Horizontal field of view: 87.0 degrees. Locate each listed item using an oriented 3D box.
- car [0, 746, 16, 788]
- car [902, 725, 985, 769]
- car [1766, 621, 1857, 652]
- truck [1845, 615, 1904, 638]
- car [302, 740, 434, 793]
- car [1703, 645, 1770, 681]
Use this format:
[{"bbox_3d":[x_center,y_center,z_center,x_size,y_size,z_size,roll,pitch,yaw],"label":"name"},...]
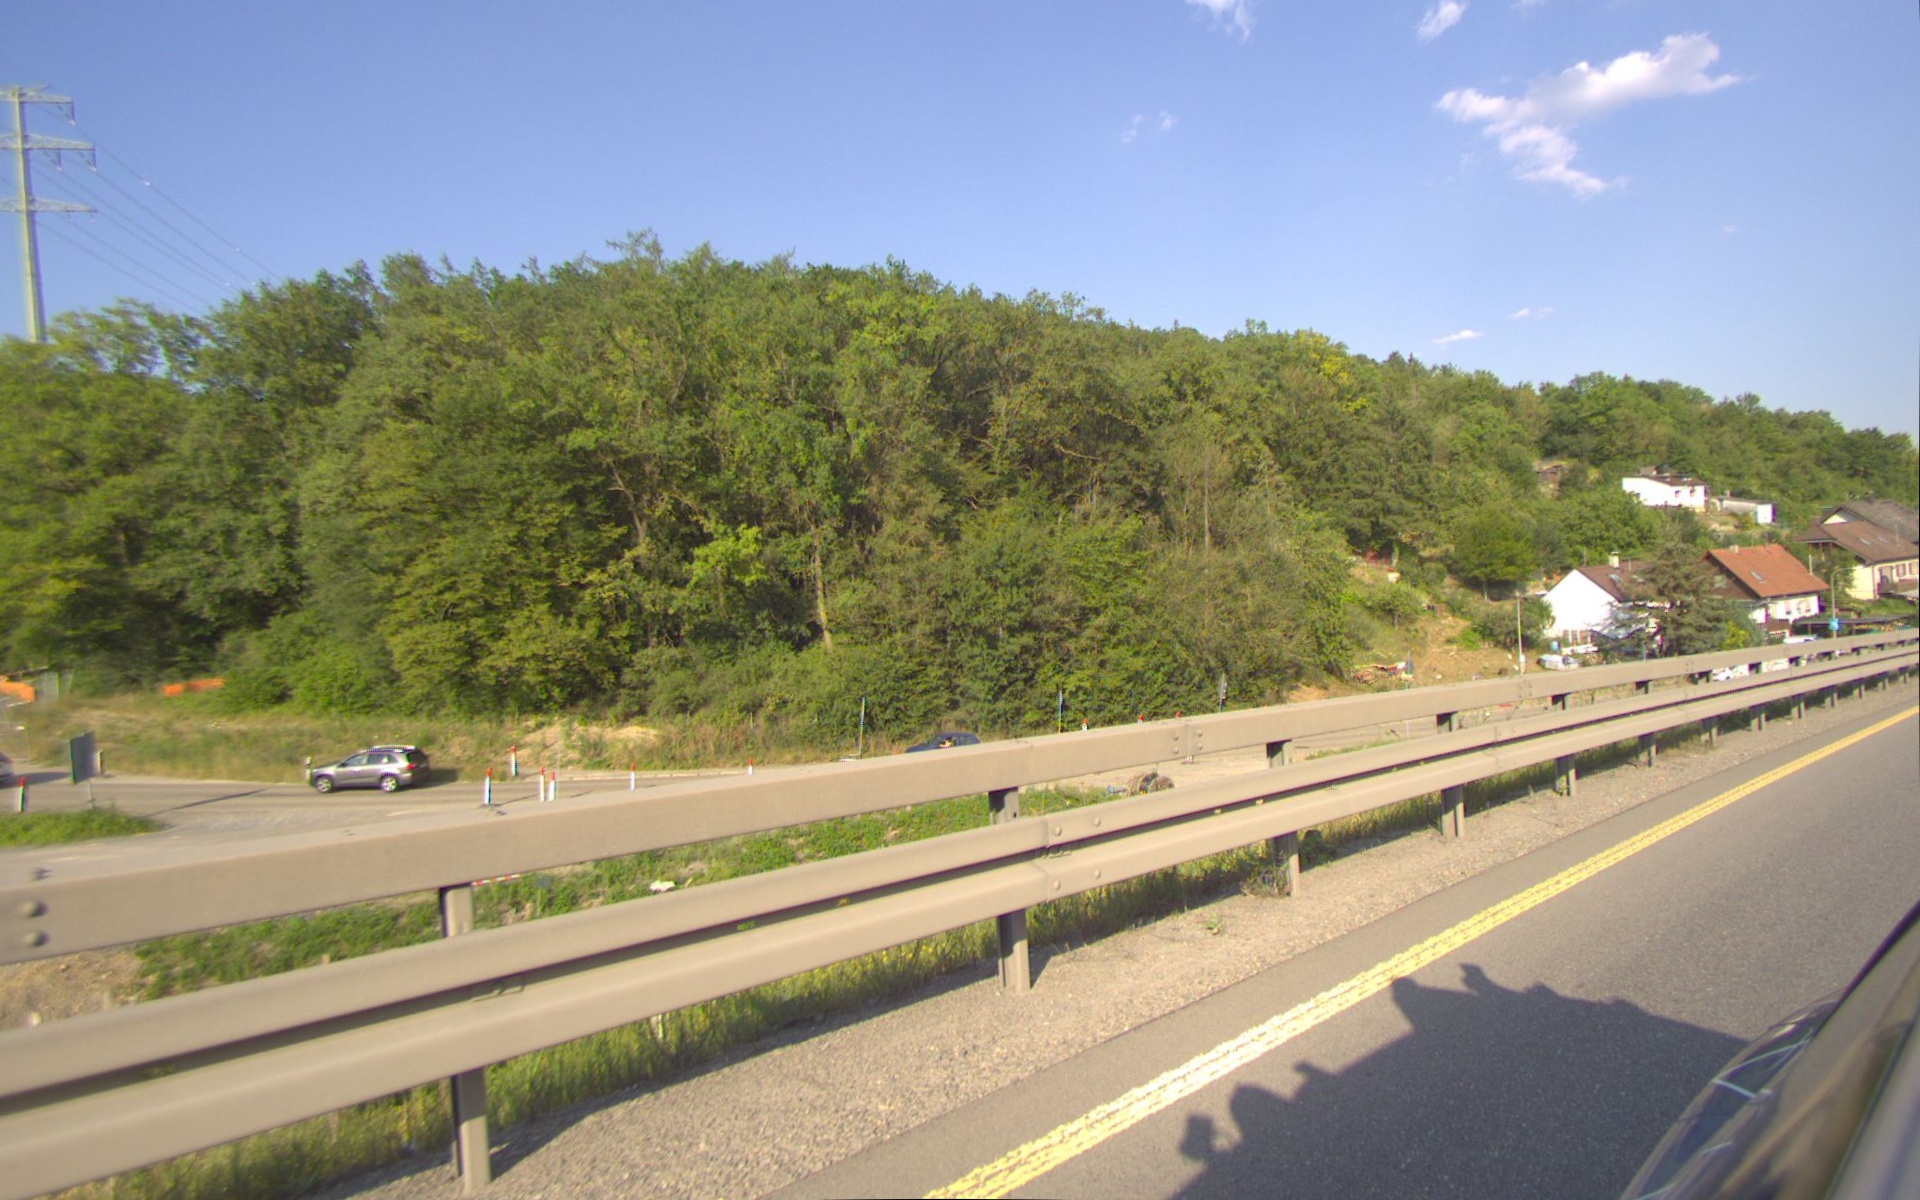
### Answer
[{"bbox_3d":[-42.862,7.193,42.653,4.380,1.683,1.675,-1,-1,-7],"label":"car"},{"bbox_3d":[-0.792,6.861,47.484,3.541,1.619,1.776,-2,-2,-15],"label":"car"},{"bbox_3d":[71.986,3.036,85.642,1.960,2.292,5.491,-3,1,-27],"label":"car"},{"bbox_3d":[81.400,2.373,90.153,1.970,1.760,3.984,-7,-2,13],"label":"truck"},{"bbox_3d":[-24.663,6.926,42.275,4.409,1.807,1.870,0,0,-5],"label":"car"},{"bbox_3d":[55.404,4.458,72.194,4.950,2.010,1.871,-3,3,-27],"label":"car"}]
